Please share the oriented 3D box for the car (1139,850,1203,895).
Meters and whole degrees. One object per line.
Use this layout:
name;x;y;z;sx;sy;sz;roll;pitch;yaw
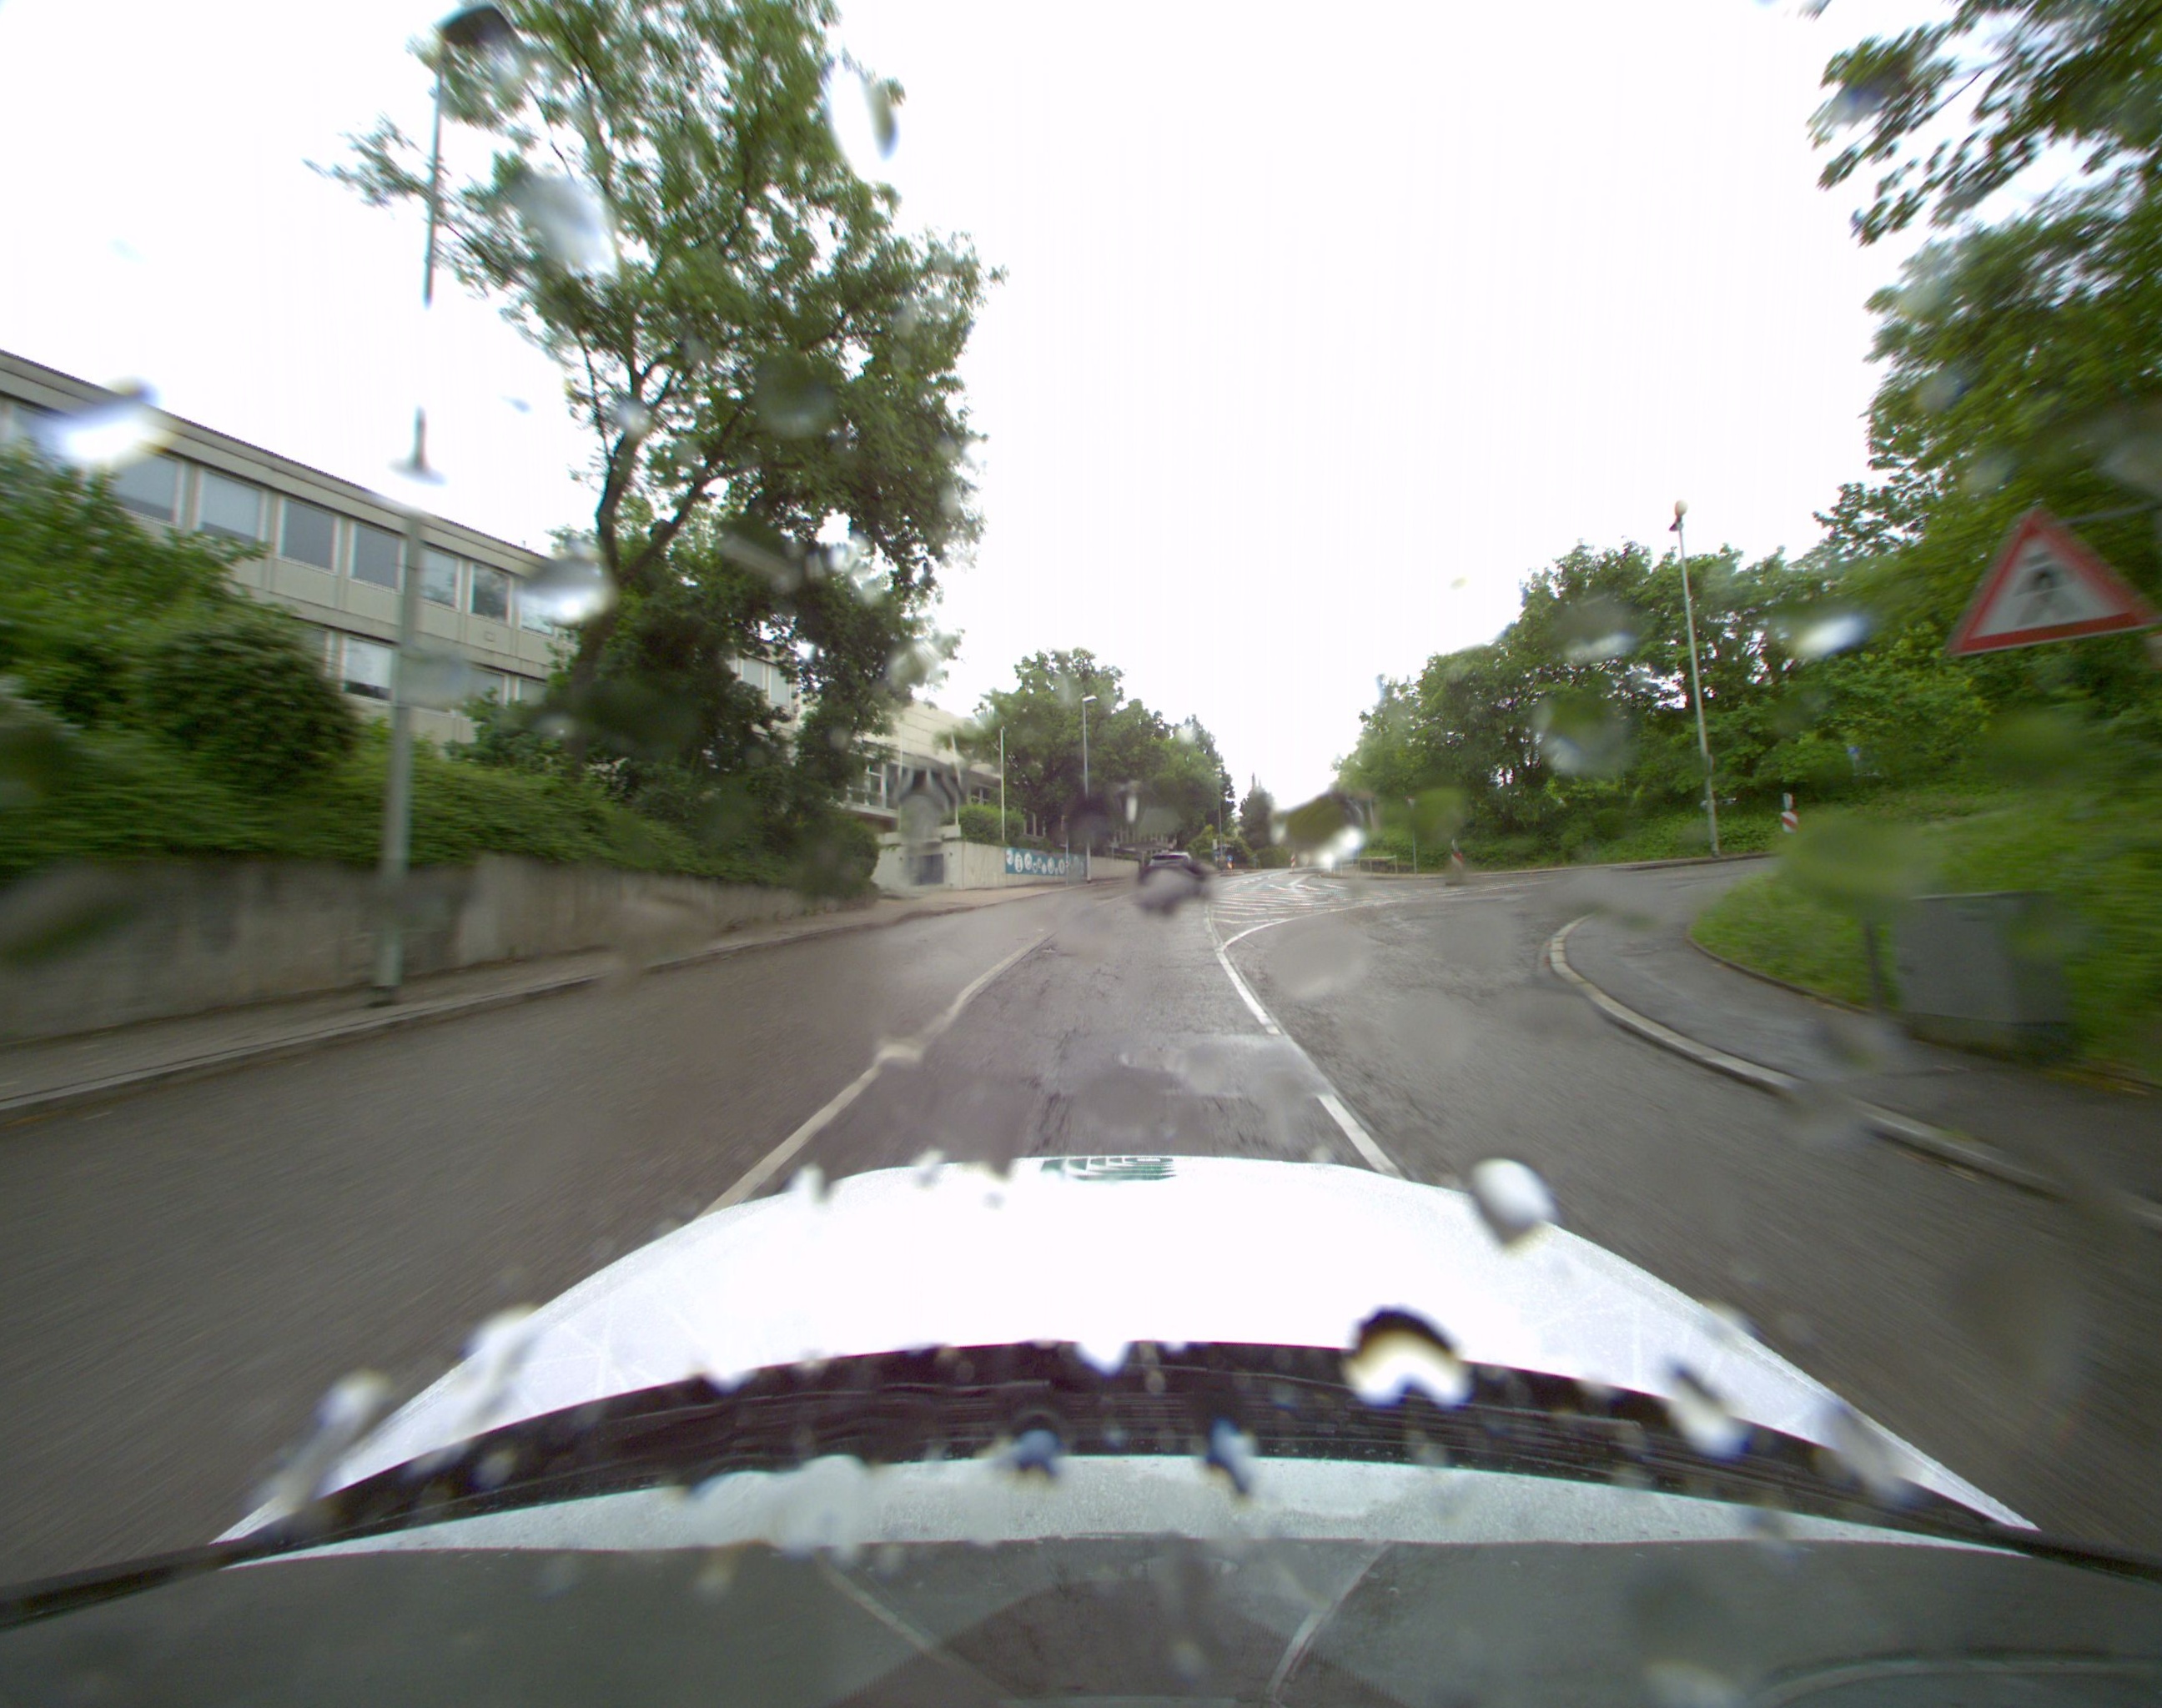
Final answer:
car;3.543;0.661;31.320;1.914;1.613;4.015;-1;0;14
